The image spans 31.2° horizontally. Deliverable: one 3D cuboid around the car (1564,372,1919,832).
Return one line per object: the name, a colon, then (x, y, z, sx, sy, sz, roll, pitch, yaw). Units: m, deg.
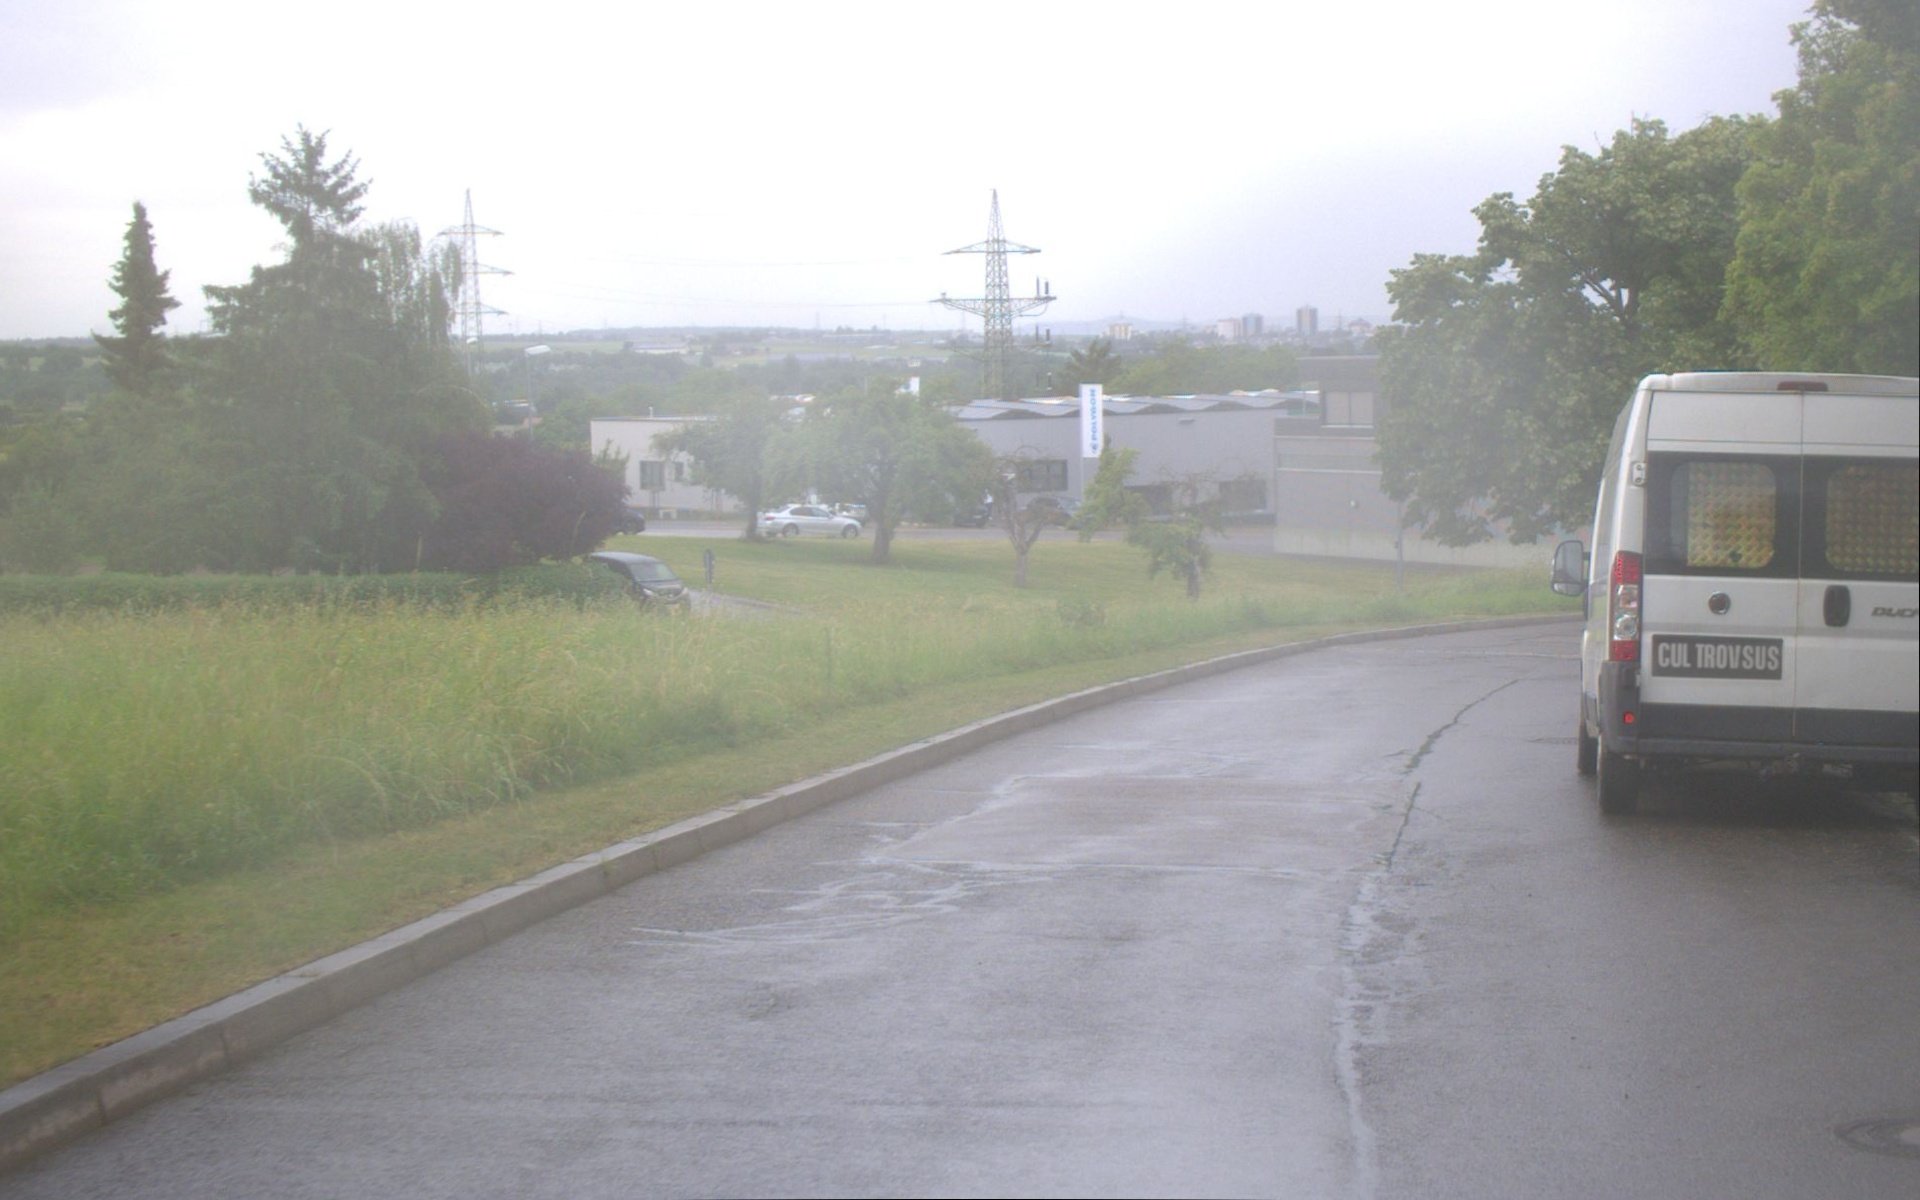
car: (4.916, -0.043, 21.284, 2.118, 2.459, 5.508, 1, 1, 8)

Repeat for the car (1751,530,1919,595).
car: (21.450, -0.939, 83.992, 3.875, 1.542, 1.771, 1, 1, 24)

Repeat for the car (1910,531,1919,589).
car: (28.410, -1.145, 95.519, 3.567, 1.600, 1.690, -1, 1, 28)

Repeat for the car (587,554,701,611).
car: (-9.659, -0.566, 105.026, 1.776, 1.591, 4.000, -1, 3, -34)

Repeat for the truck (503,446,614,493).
truck: (-21.398, -6.951, 183.244, 5.310, 2.301, 2.436, 0, 4, -28)

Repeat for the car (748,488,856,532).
car: (-6.865, -3.934, 149.680, 4.261, 1.696, 1.798, 1, 4, -28)
